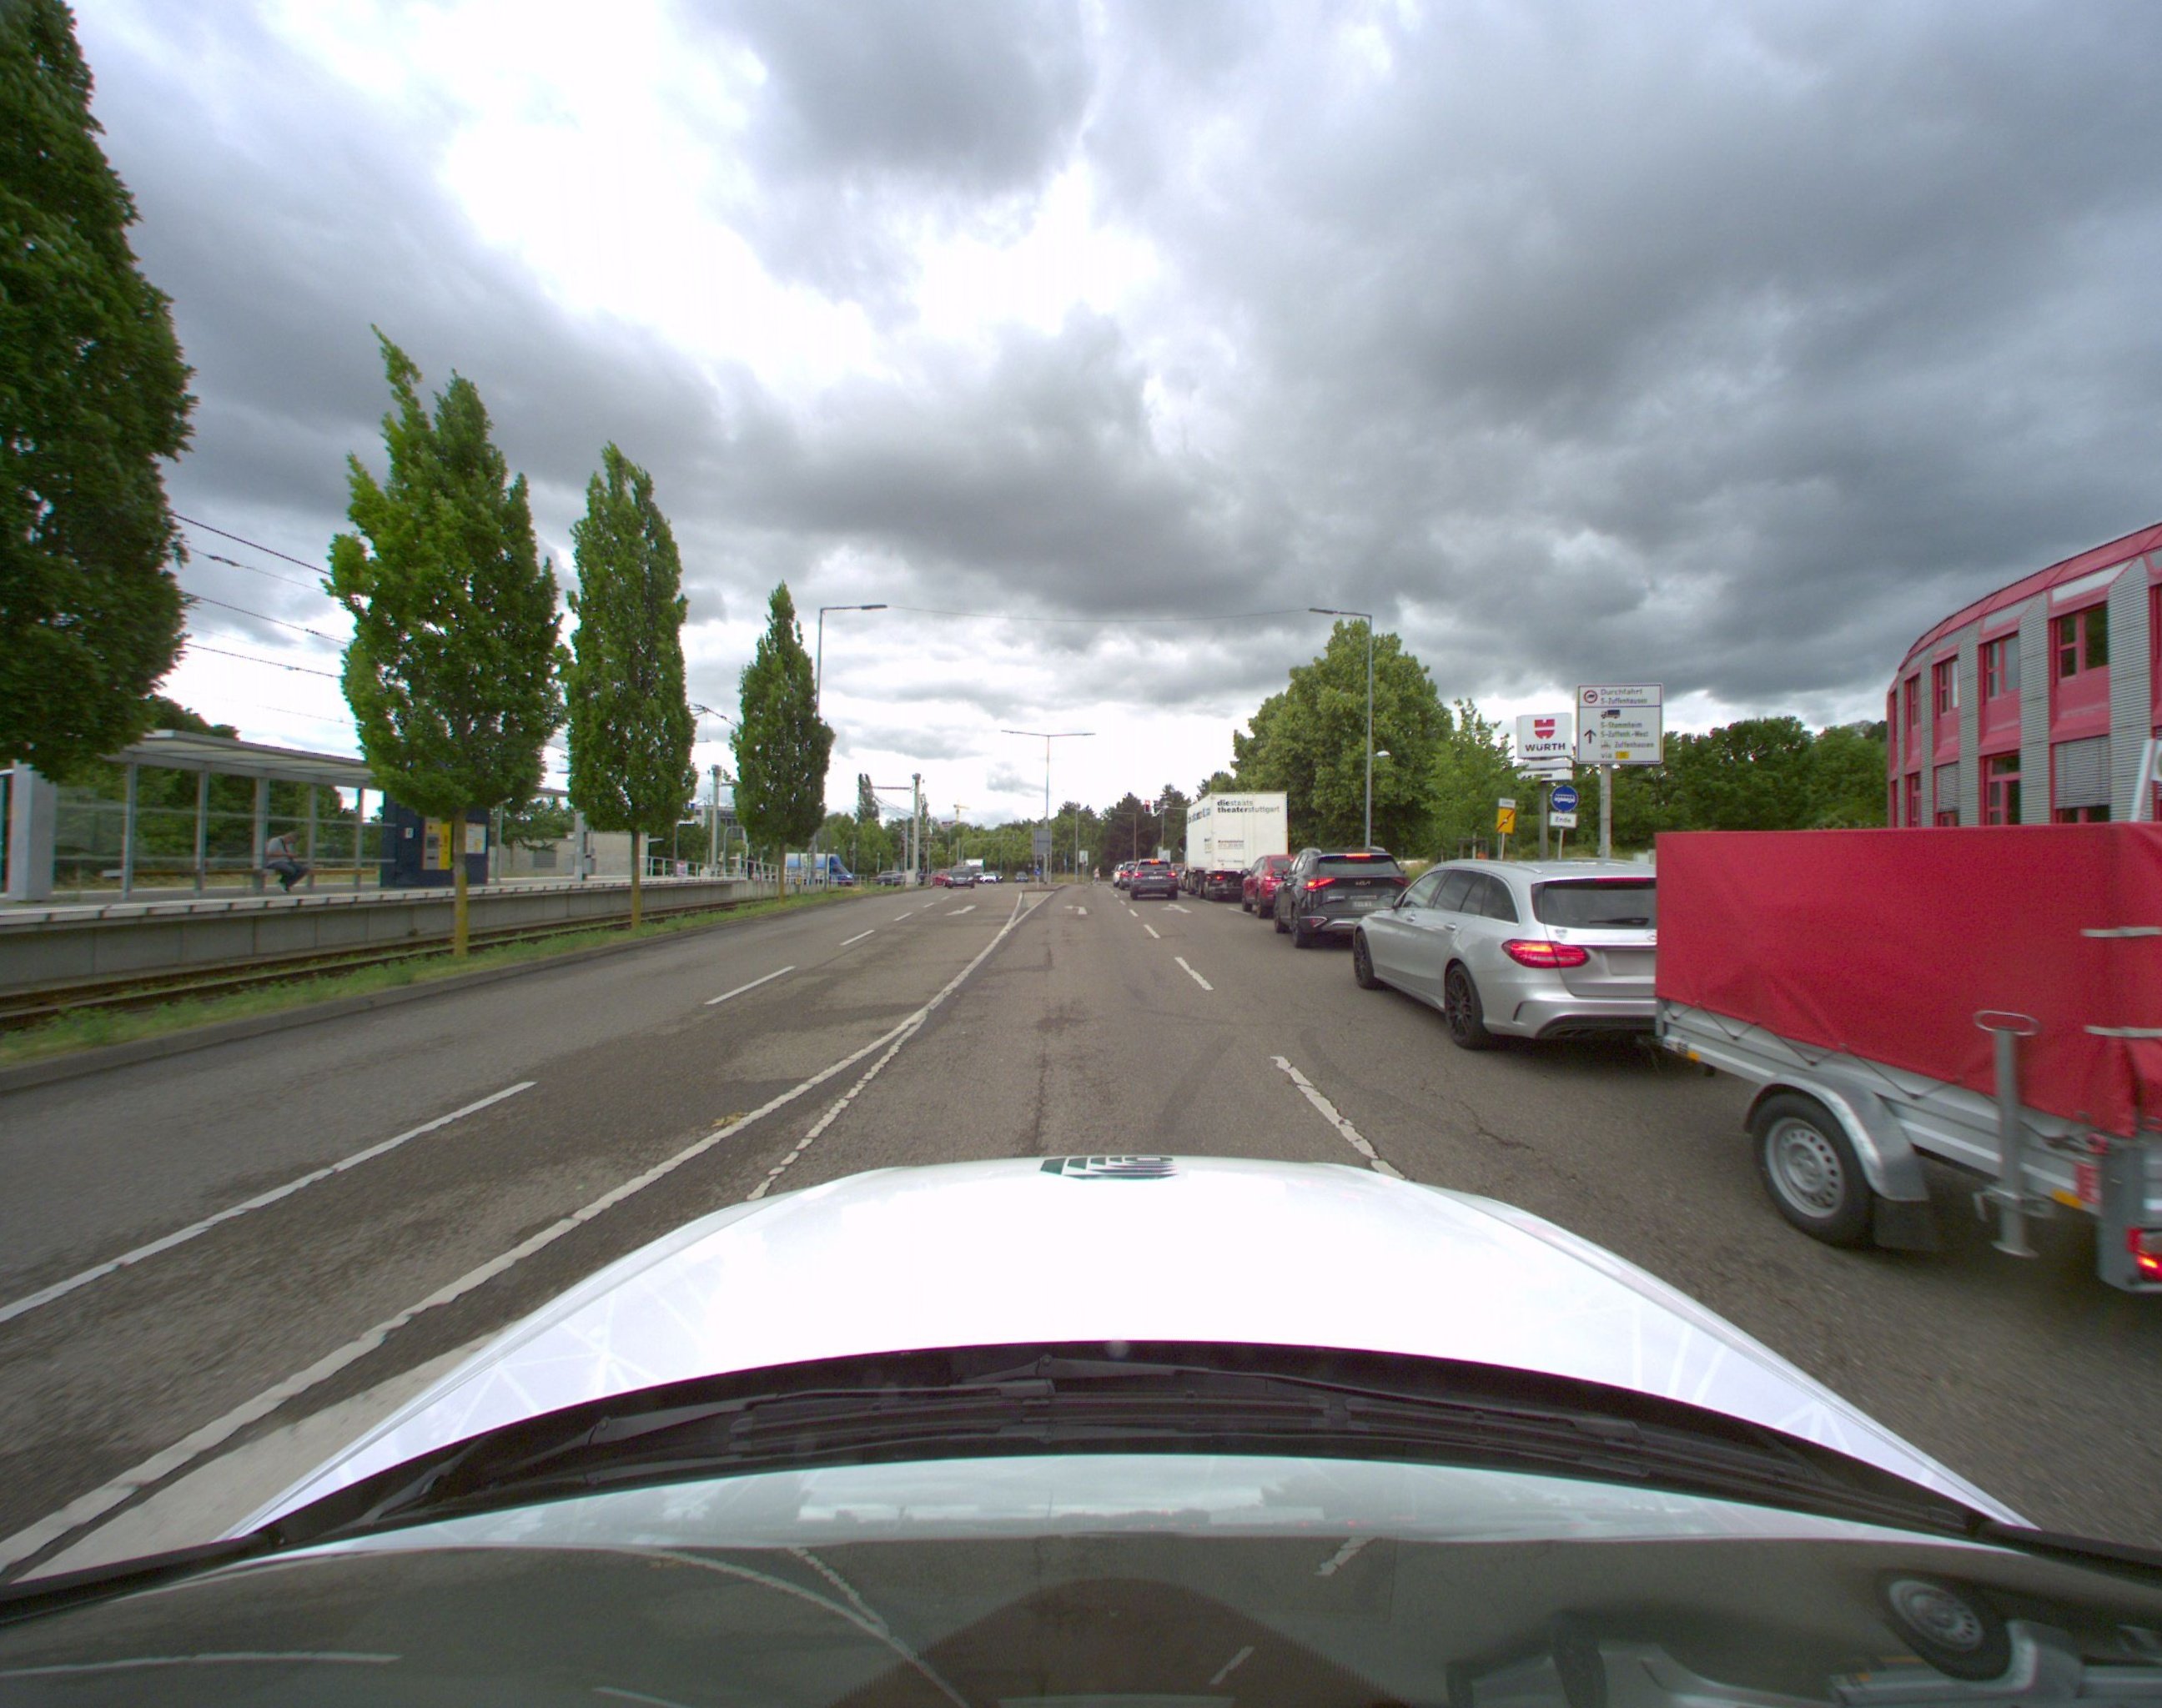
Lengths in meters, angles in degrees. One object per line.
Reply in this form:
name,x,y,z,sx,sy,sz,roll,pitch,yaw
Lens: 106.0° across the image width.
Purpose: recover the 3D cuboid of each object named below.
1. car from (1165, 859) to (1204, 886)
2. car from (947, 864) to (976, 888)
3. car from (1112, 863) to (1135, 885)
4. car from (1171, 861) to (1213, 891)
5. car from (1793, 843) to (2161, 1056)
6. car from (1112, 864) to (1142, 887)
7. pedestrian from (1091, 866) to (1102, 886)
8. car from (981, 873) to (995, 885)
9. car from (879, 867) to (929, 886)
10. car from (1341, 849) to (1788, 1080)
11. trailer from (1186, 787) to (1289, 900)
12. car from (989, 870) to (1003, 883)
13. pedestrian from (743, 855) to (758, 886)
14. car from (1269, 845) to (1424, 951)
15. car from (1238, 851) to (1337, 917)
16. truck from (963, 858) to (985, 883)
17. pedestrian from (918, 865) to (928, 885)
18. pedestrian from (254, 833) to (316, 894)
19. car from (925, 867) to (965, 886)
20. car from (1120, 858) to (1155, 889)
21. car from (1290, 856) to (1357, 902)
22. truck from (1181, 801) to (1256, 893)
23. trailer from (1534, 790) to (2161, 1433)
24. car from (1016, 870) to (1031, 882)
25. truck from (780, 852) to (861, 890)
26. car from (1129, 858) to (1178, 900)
car,6.011,1.045,47.656,1.818,1.435,4.214,-1,0,1
car,-8.230,1.520,56.334,1.723,1.574,3.699,-1,-1,-6
car,3.042,1.417,58.242,1.530,1.504,2.670,-1,-2,0
car,5.578,1.082,41.186,1.804,1.354,4.122,-1,0,4
car,8.364,0.650,6.957,1.615,1.457,3.695,0,0,6
car,2.972,1.372,53.159,1.715,1.422,4.356,-1,-1,1
pedestrian,1.226,1.716,64.655,0.861,1.560,0.518,-1,1,-2
car,-12.597,3.345,110.435,1.775,1.508,3.735,0,0,-9
car,-16.320,2.034,75.213,3.963,1.596,2.005,-1,0,9
car,3.775,0.710,7.412,1.664,1.447,4.494,-1,0,4
trailer,5.692,-0.295,30.891,2.556,3.706,7.766,-1,-1,1
car,-12.890,3.401,123.600,1.914,1.728,3.990,-1,0,-7
pedestrian,-19.479,0.976,47.951,0.571,1.828,0.792,0,-1,-3
car,4.481,0.660,14.425,1.834,1.561,4.414,-1,0,8
car,5.199,0.716,21.042,1.700,1.524,4.323,-1,-1,4
truck,-16.318,2.468,123.548,2.662,3.649,9.463,1,-1,-12
pedestrian,-12.731,1.673,65.552,0.349,1.556,0.657,0,2,34
pedestrian,-16.974,0.195,17.377,0.609,1.269,0.659,-1,2,-5
car,-11.885,1.918,71.156,1.716,1.488,4.040,-1,1,-38
car,3.018,1.015,44.086,1.792,1.523,4.190,-1,0,2
car,8.922,0.871,30.224,1.565,1.571,3.059,1,0,0
truck,5.813,-0.247,35.050,2.561,3.706,4.107,-1,-1,1
trailer,3.484,0.626,3.518,1.403,1.594,3.307,-1,0,4
car,-8.314,3.212,117.261,1.914,1.576,3.991,-1,0,-7
truck,-26.373,1.740,82.721,7.220,3.598,2.690,-1,1,-2
car,2.764,0.951,31.713,1.692,1.486,4.002,-1,-1,2
